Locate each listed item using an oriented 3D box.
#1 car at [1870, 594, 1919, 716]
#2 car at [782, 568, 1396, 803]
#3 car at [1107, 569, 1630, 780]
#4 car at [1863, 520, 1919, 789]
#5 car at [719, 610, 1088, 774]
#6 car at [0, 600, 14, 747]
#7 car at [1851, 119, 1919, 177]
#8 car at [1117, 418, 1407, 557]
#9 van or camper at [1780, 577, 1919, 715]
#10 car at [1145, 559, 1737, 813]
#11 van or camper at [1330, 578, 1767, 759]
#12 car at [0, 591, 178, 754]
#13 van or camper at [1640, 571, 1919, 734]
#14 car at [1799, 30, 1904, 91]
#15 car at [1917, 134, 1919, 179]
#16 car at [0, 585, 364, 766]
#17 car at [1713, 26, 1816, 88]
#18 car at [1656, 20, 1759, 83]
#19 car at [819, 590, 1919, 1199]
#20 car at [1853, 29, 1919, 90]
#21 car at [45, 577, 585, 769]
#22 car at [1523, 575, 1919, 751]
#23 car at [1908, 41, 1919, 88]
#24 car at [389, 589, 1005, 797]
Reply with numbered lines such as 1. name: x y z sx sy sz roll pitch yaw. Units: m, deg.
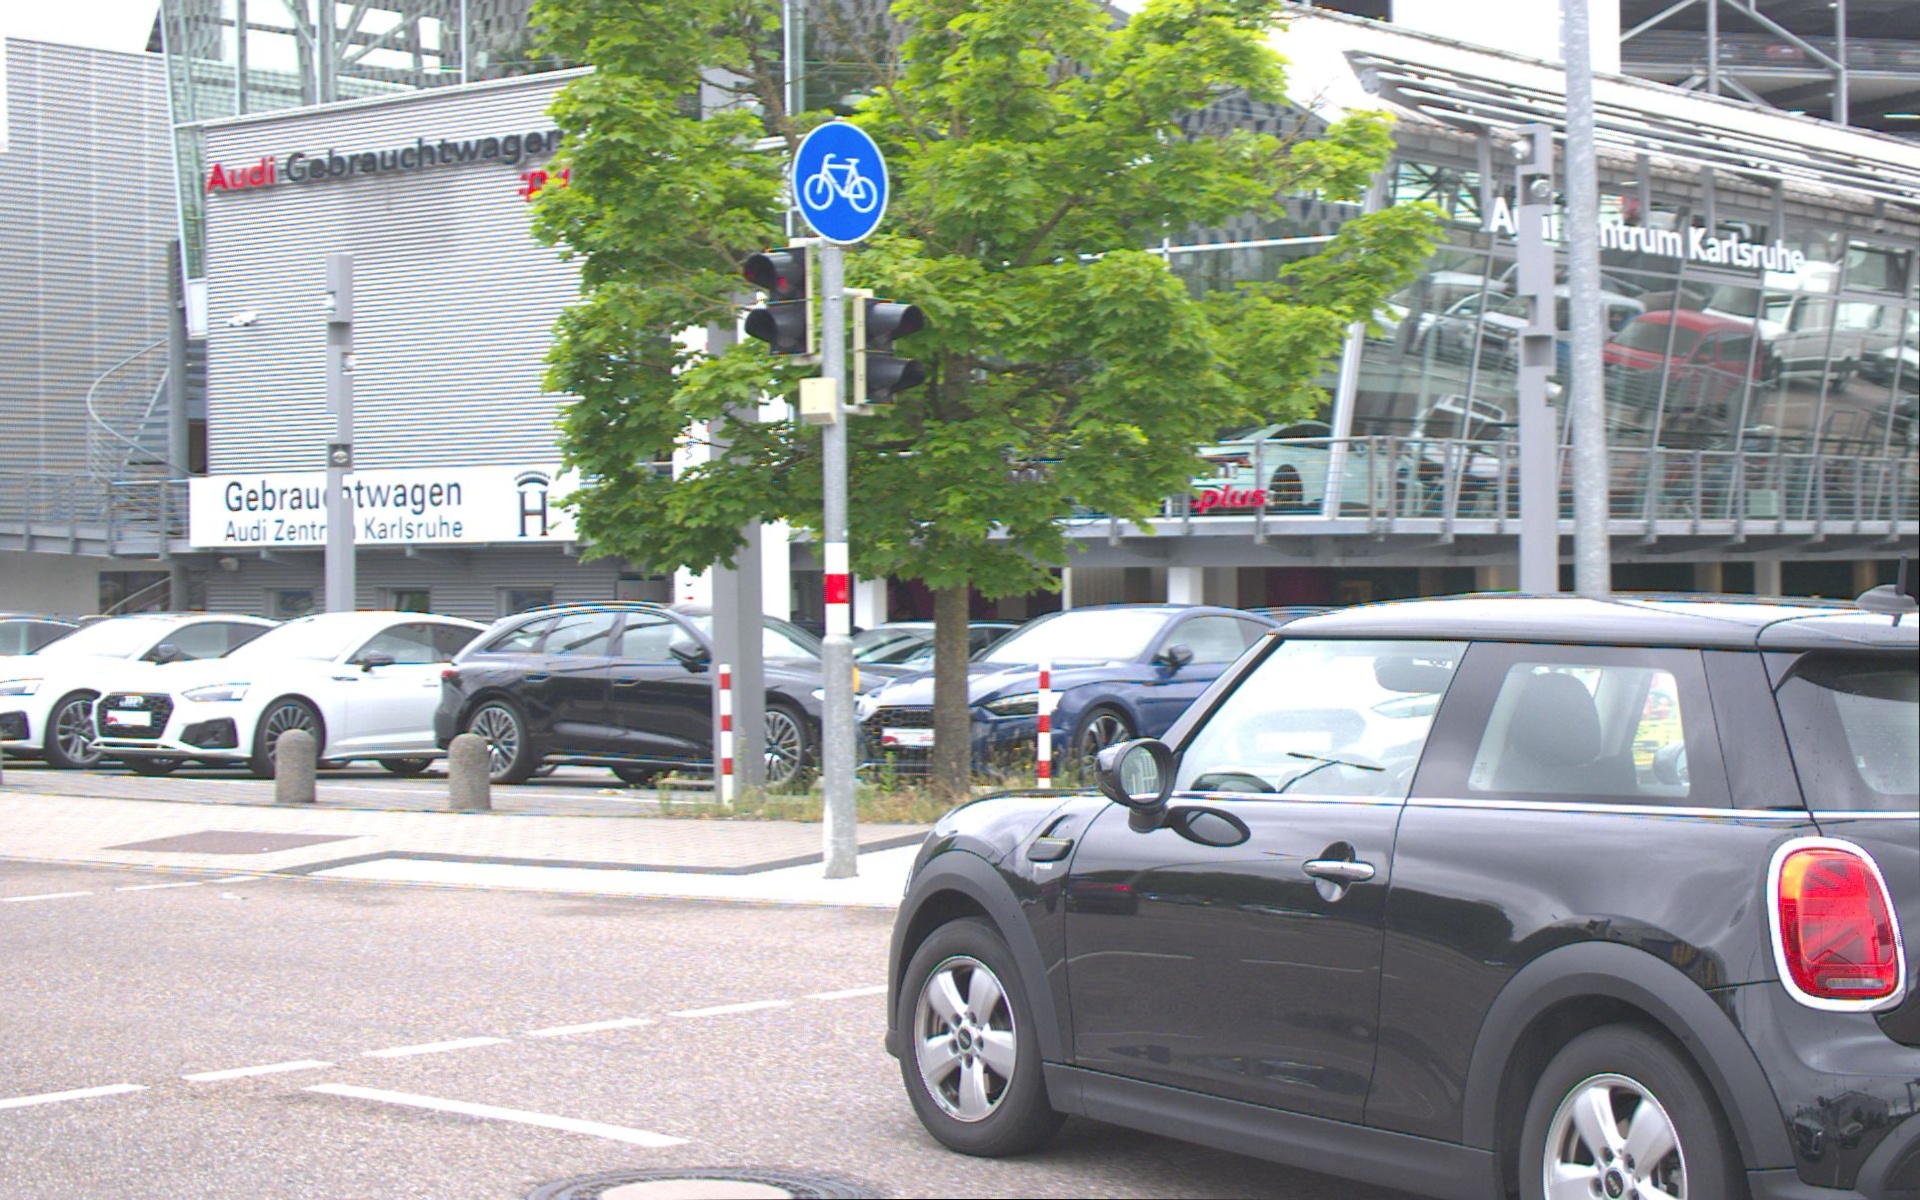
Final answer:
1. car: 16.107 0.891 52.241 3.996 1.831 1.756 2 1 37
2. car: 1.008 0.643 24.039 2.067 1.481 4.506 -1 -3 37
3. car: 3.967 0.674 33.918 4.813 1.933 1.995 0 1 40
4. car: 8.817 0.326 23.312 4.782 1.856 1.996 -2 -1 38
5. car: -0.577 0.996 38.938 1.809 1.690 4.309 2 1 39
6. car: -11.648 0.664 33.781 1.906 1.481 4.181 0 -2 38
7. car: 34.962 -16.730 127.476 1.993 1.661 4.001 0 1 -16
8. car: 3.927 -1.425 44.266 1.823 1.656 3.991 2 1 37
9. van or camper: 12.880 0.622 44.411 3.996 1.705 1.843 2 1 39
10. car: 3.205 0.560 22.264 1.873 1.481 4.219 -1 -2 39
11. van or camper: 6.115 0.669 35.924 3.996 1.671 1.995 2 1 39
12. car: -9.600 0.651 31.995 1.869 1.481 4.222 0 -2 40
13. van or camper: 10.536 0.615 41.849 3.996 1.809 1.843 2 1 39
14. car: 32.862 -19.878 126.780 1.993 1.661 4.001 0 1 -16
15. car: 37.584 -16.666 127.975 1.993 1.661 4.001 0 1 -16
16. car: -7.437 0.688 30.272 1.875 1.481 4.035 0 -2 39
17. car: 29.570 -19.965 126.460 1.993 1.661 4.001 0 1 -16
18. car: 27.284 -20.015 125.619 1.993 1.661 4.001 0 1 -16
19. car: 1.289 0.698 7.833 1.785 1.411 3.643 1 0 -28
20. car: 35.103 -20.044 127.669 1.993 1.661 4.001 0 1 -16
21. car: -5.319 0.641 28.782 1.851 1.481 4.188 0 -2 40
22. car: 9.195 0.691 40.189 4.813 1.933 1.995 0 1 40
23. car: 37.321 -20.148 128.254 1.993 1.661 4.001 0 1 -16
24. car: -2.107 0.704 26.668 4.750 1.481 1.888 0 -2 40
